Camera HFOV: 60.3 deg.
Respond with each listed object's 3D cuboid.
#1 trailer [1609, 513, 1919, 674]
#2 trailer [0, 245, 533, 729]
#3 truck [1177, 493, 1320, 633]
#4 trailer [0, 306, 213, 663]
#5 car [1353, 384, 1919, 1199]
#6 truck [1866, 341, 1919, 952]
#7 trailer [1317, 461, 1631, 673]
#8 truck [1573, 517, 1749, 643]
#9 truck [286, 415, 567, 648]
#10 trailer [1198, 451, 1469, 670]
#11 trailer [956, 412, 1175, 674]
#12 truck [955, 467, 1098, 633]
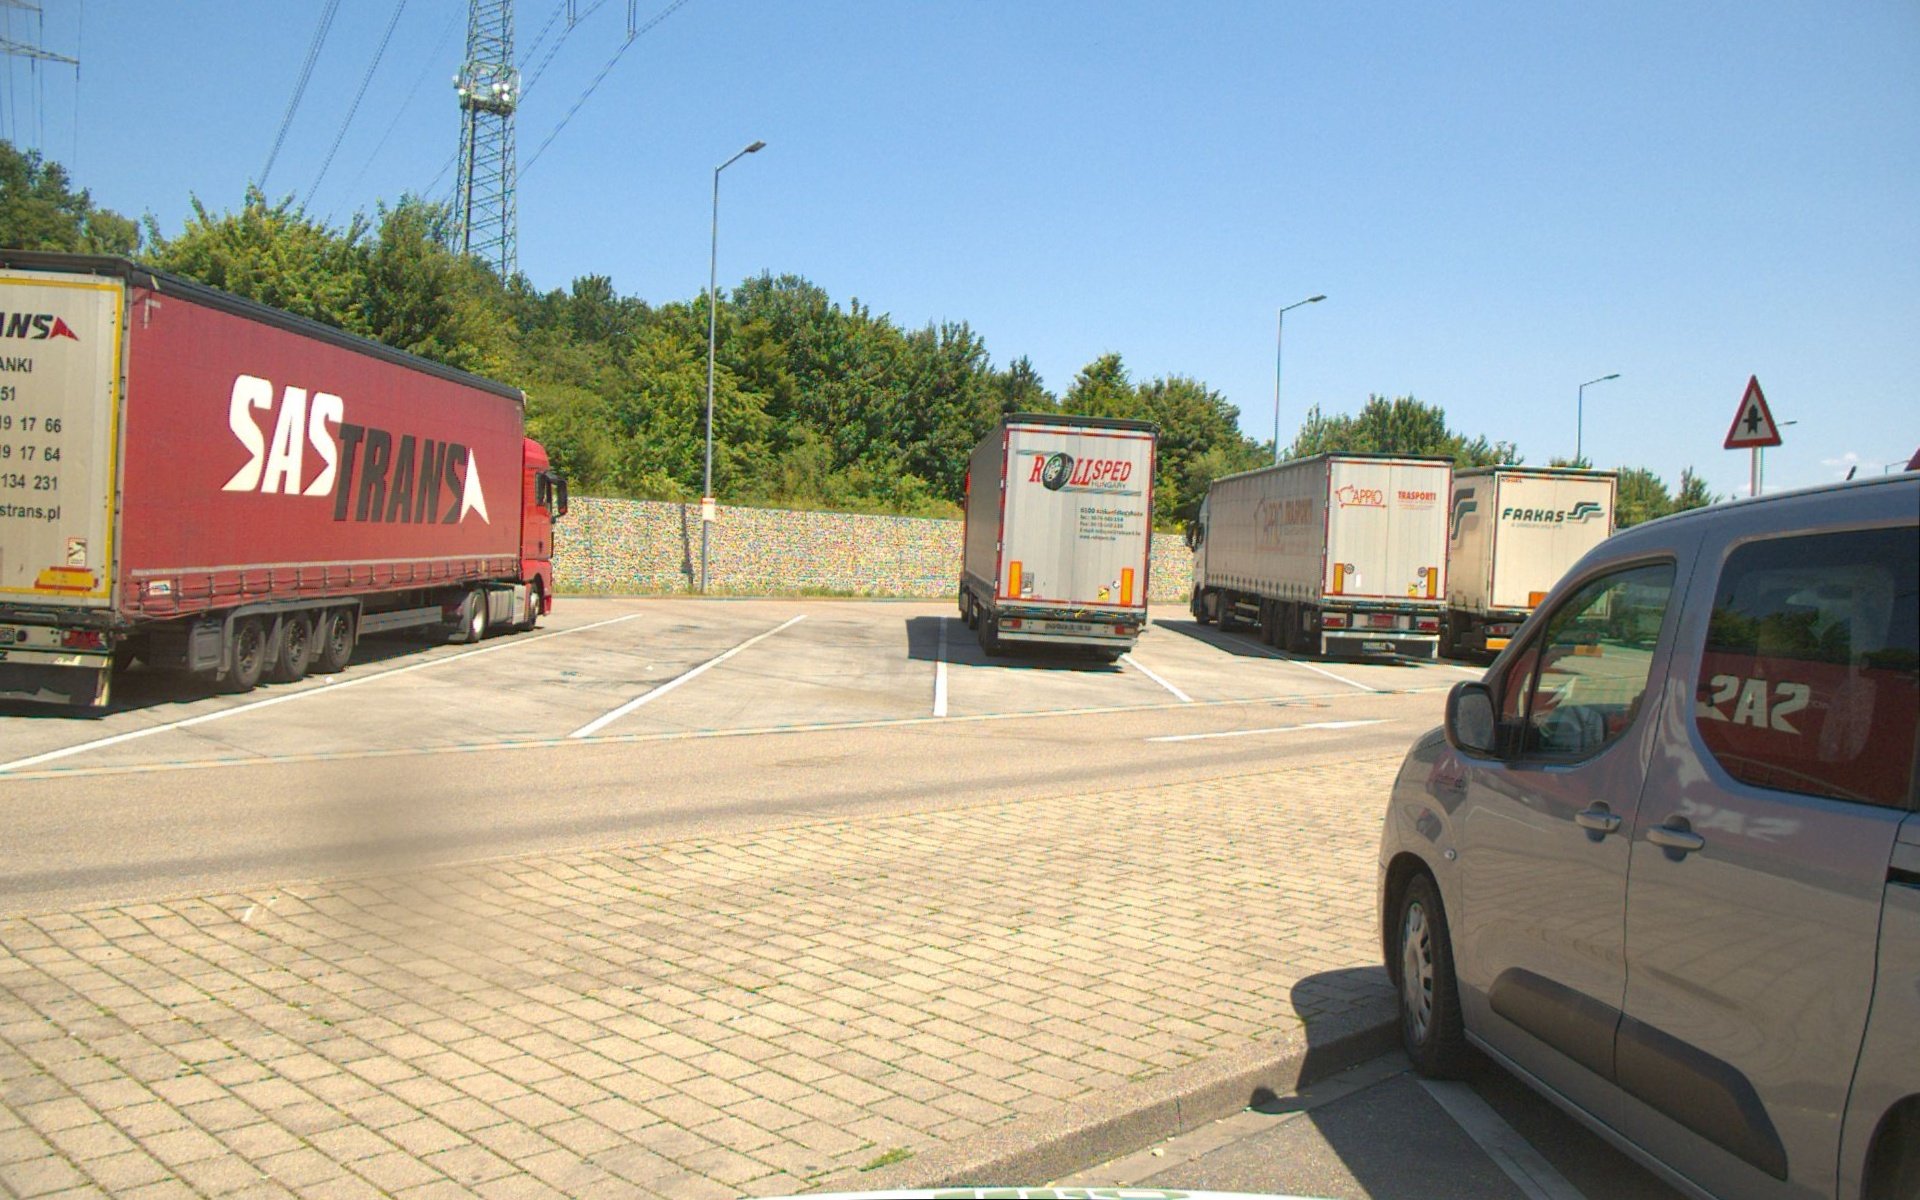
[{"bbox_3d":[21.848,-0.397,44.517,2.754,3.568,14.395,3,2,-1],"label":"trailer"},{"bbox_3d":[-8.721,-1.294,21.445,2.735,4.155,14.131,3,2,-1],"label":"trailer"},{"bbox_3d":[8.058,-1.097,46.960,2.804,3.582,5.900,3,2,-1],"label":"truck"},{"bbox_3d":[-12.547,-1.339,17.722,2.739,4.155,14.131,3,2,-1],"label":"trailer"},{"bbox_3d":[2.445,0.597,3.866,1.832,1.896,4.174,3,1,-2],"label":"car"},{"bbox_3d":[5.007,0.194,4.989,1.937,2.668,5.307,1,0,4],"label":"truck"},{"bbox_3d":[11.738,-0.940,39.966,2.754,4.058,14.395,3,2,-1],"label":"trailer"},{"bbox_3d":[21.770,-0.702,51.746,2.746,3.582,5.900,3,2,-1],"label":"truck"},{"bbox_3d":[-8.786,-1.153,28.016,2.793,3.385,5.900,3,2,-1],"label":"truck"},{"bbox_3d":[8.175,-1.034,38.861,2.754,4.058,14.395,3,2,-1],"label":"trailer"},{"bbox_3d":[1.663,-1.198,33.652,3.070,4.058,14.393,3,2,-1],"label":"trailer"},{"bbox_3d":[1.506,-1.243,40.542,3.041,3.628,5.900,3,2,-1],"label":"truck"}]
